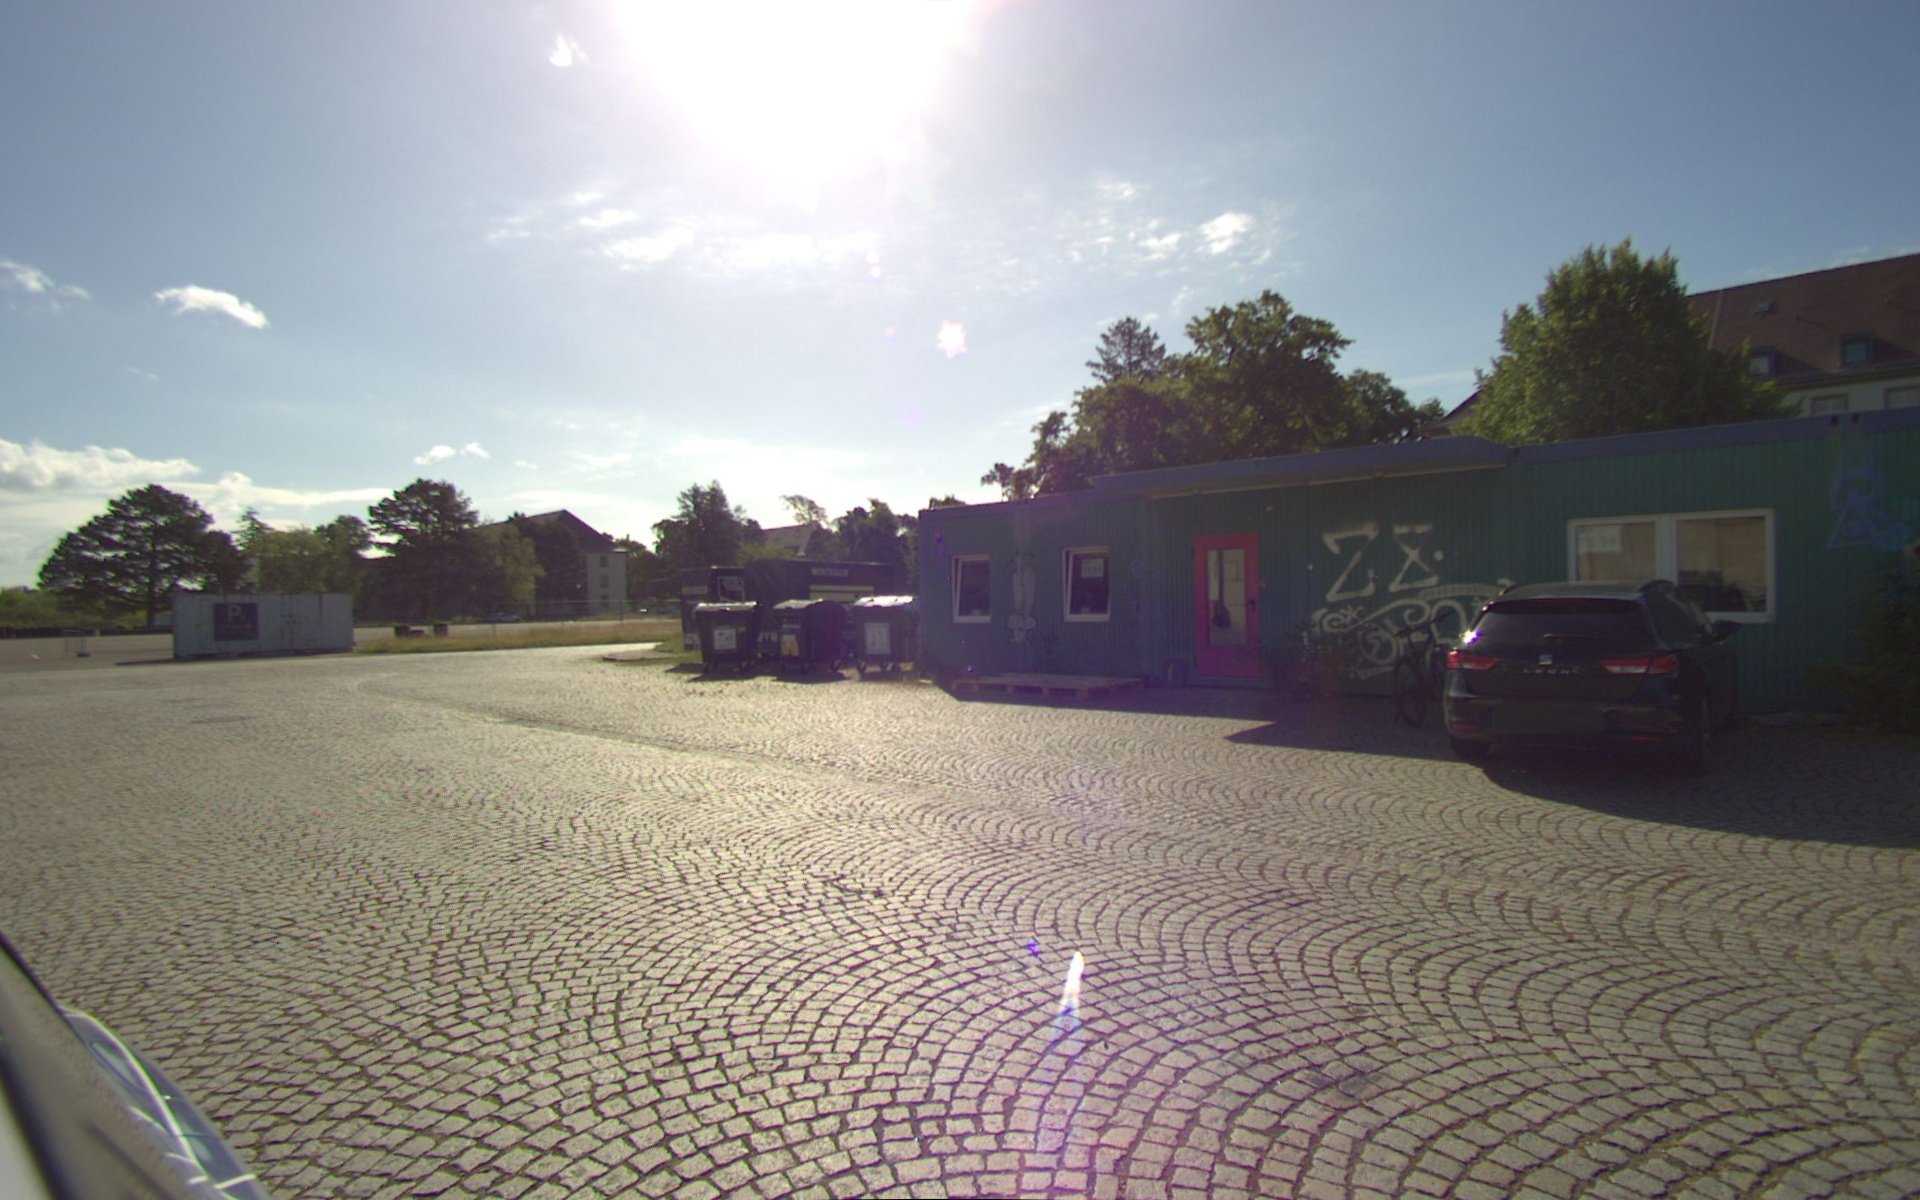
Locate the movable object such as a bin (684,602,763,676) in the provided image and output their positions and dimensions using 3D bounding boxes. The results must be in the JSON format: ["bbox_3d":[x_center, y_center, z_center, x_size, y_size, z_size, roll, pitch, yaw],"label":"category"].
[{"bbox_3d":[-4.977,0.810,21.423,1.417,1.469,1.157,-2,1,-2],"label":"movable object such as a bin"}]

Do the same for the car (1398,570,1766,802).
[{"bbox_3d":[5.513,0.515,8.700,1.931,1.460,4.206,-1,1,42],"label":"car"}]

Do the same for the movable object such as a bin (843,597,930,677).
[{"bbox_3d":[-1.430,0.703,19.633,1.437,1.469,0.875,-1,1,34],"label":"movable object such as a bin"}]

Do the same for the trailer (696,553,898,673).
[{"bbox_3d":[-3.805,0.223,24.297,1.950,2.587,4.589,-1,1,40],"label":"trailer"}]

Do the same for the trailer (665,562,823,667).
[{"bbox_3d":[-5.524,0.319,26.043,3.346,2.488,2.046,-2,1,-45],"label":"trailer"}]

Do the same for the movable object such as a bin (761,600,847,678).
[{"bbox_3d":[-3.138,0.752,20.285,1.441,1.469,1.006,-1,1,44],"label":"movable object such as a bin"}]

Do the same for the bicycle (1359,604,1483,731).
[{"bbox_3d":[4.890,0.658,10.670,0.668,1.179,1.784,-1,1,42],"label":"bicycle"}]
